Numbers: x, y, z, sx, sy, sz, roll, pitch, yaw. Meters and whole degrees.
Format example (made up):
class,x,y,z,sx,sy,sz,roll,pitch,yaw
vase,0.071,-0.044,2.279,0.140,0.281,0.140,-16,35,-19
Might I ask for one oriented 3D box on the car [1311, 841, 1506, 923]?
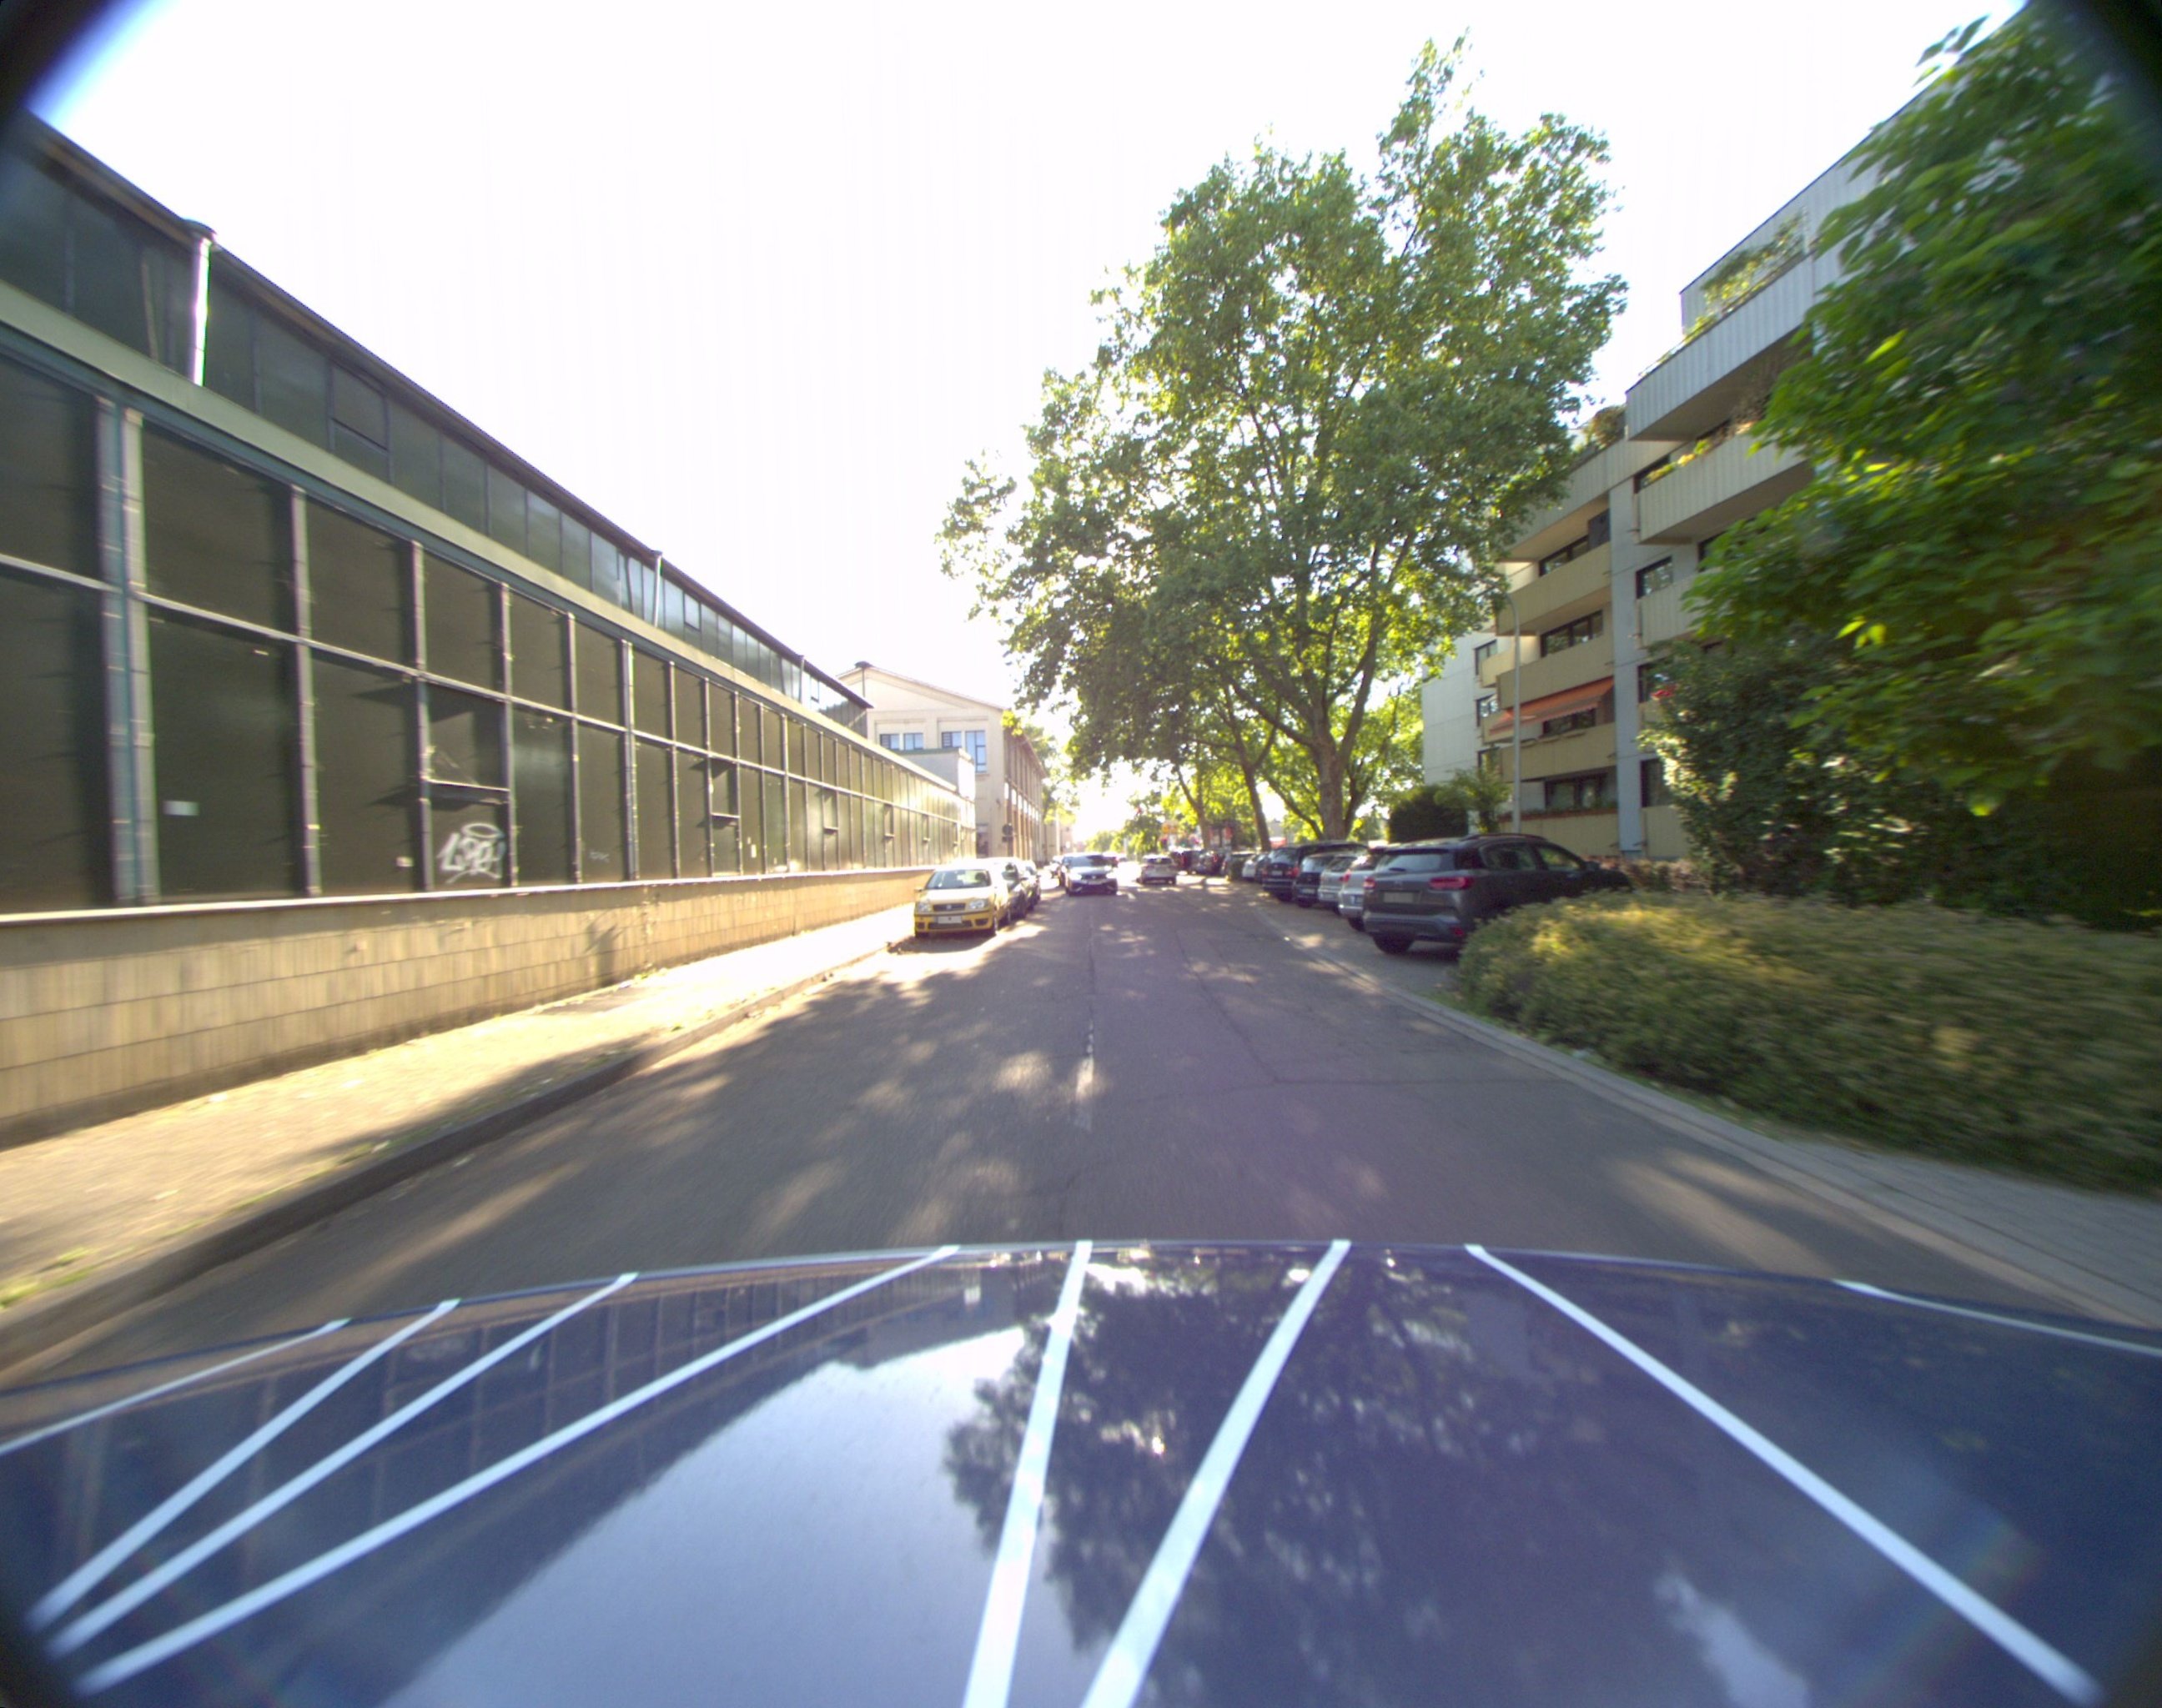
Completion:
class,x,y,z,sx,sy,sz,roll,pitch,yaw
car,7.329,0.587,17.139,3.650,1.552,1.698,-3,1,-10

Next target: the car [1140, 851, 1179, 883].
class,x,y,z,sx,sy,sz,roll,pitch,yaw
car,4.037,0.638,39.858,1.904,1.527,4.622,0,0,4

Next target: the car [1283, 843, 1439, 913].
class,x,y,z,sx,sy,sz,roll,pitch,yaw
car,7.385,0.590,20.034,3.654,1.552,1.697,-3,1,-24

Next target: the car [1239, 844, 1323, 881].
class,x,y,z,sx,sy,sz,roll,pitch,yaw
car,9.754,0.400,37.089,3.654,1.552,1.706,-3,1,-26

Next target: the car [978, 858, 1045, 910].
class,x,y,z,sx,sy,sz,roll,pitch,yaw
car,-2.308,0.968,26.333,1.905,1.485,4.528,-3,1,-1

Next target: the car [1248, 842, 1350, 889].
class,x,y,z,sx,sy,sz,roll,pitch,yaw
car,8.964,0.458,31.309,3.652,1.652,1.648,-3,1,-17

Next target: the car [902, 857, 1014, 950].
class,x,y,z,sx,sy,sz,roll,pitch,yaw
car,-2.505,0.948,16.414,1.755,1.625,4.000,-3,1,-1

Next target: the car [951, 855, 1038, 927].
class,x,y,z,sx,sy,sz,roll,pitch,yaw
car,-2.254,0.915,20.883,1.755,1.625,4.309,-3,1,1

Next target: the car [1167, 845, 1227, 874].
class,x,y,z,sx,sy,sz,roll,pitch,yaw
car,8.570,0.401,56.131,4.004,1.875,1.714,-3,1,-25

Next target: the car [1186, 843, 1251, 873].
class,x,y,z,sx,sy,sz,roll,pitch,yaw
car,9.682,0.286,53.599,4.002,1.871,1.831,-3,1,-15

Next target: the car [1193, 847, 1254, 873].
class,x,y,z,sx,sy,sz,roll,pitch,yaw
car,9.518,0.389,50.751,3.602,1.552,1.648,-3,1,-17

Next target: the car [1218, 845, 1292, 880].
class,x,y,z,sx,sy,sz,roll,pitch,yaw
car,9.626,0.461,42.059,3.654,1.652,1.647,-3,1,-25

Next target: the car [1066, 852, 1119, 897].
class,x,y,z,sx,sy,sz,roll,pitch,yaw
car,0.390,0.749,29.911,1.854,1.527,3.856,-4,1,-1

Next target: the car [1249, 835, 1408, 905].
class,x,y,z,sx,sy,sz,roll,pitch,yaw
car,7.464,0.445,22.925,4.273,1.765,1.903,-3,1,-22

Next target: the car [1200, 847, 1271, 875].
class,x,y,z,sx,sy,sz,roll,pitch,yaw
car,9.811,0.419,48.405,4.001,1.615,1.796,-2,1,-13

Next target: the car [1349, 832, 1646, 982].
class,x,y,z,sx,sy,sz,roll,pitch,yaw
car,5.967,0.632,10.838,3.964,1.652,1.696,-3,1,-26

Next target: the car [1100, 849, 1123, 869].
class,x,y,z,sx,sy,sz,roll,pitch,yaw
car,2.850,0.439,71.233,1.965,1.633,4.000,-3,1,1

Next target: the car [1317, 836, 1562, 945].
class,x,y,z,sx,sy,sz,roll,pitch,yaw
car,6.721,0.604,14.248,4.143,1.631,1.774,-3,1,-23

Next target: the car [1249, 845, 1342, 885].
class,x,y,z,sx,sy,sz,roll,pitch,yaw
car,9.686,0.476,34.323,3.652,1.552,1.648,-3,1,-17
